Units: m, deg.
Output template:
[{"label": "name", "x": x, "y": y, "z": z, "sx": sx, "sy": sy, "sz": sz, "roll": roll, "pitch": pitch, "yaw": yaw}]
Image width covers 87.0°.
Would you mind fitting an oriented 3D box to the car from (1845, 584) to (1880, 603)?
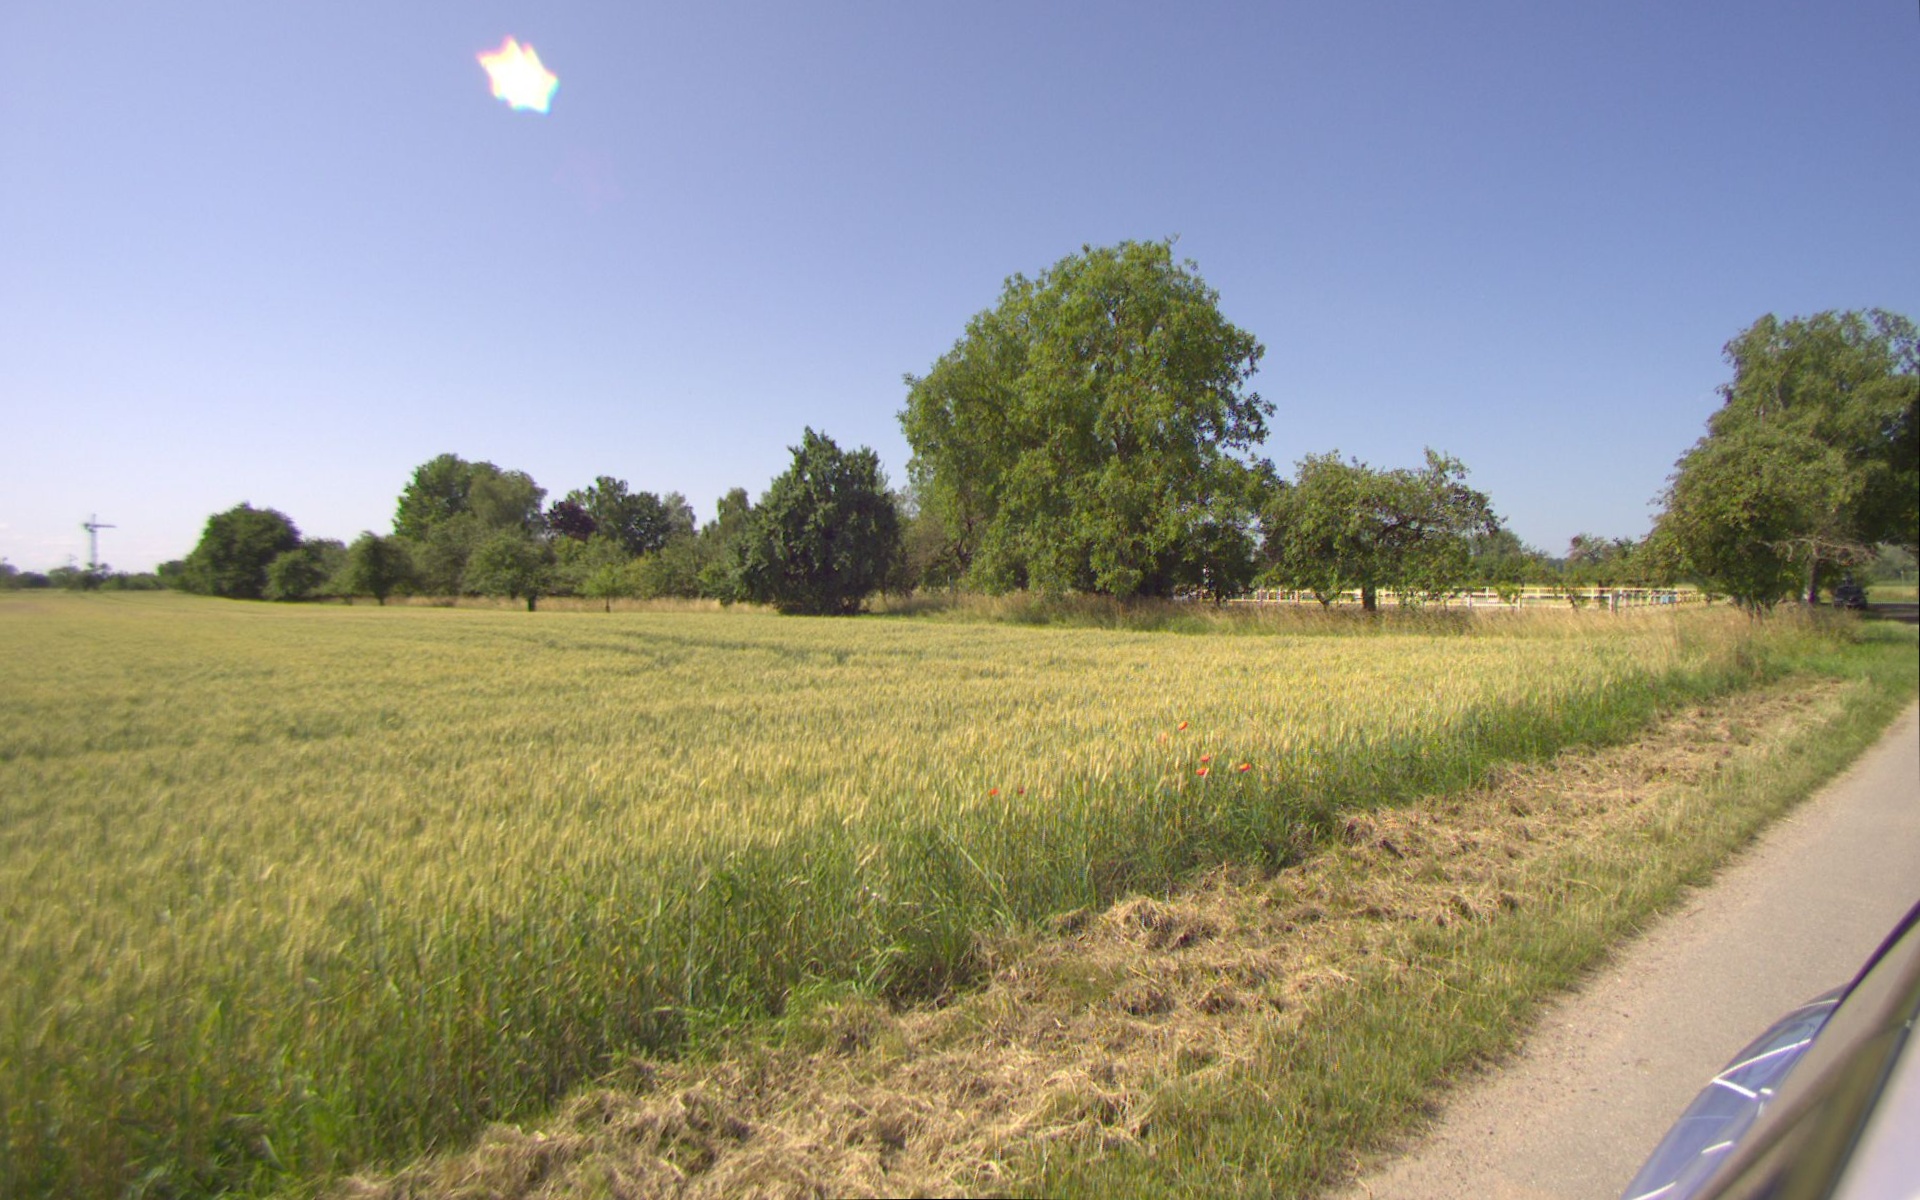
[{"label": "car", "x": 64.781, "y": -0.496, "z": 72.660, "sx": 1.715, "sy": 1.337, "sz": 3.689, "roll": 0, "pitch": 1, "yaw": 40}]
